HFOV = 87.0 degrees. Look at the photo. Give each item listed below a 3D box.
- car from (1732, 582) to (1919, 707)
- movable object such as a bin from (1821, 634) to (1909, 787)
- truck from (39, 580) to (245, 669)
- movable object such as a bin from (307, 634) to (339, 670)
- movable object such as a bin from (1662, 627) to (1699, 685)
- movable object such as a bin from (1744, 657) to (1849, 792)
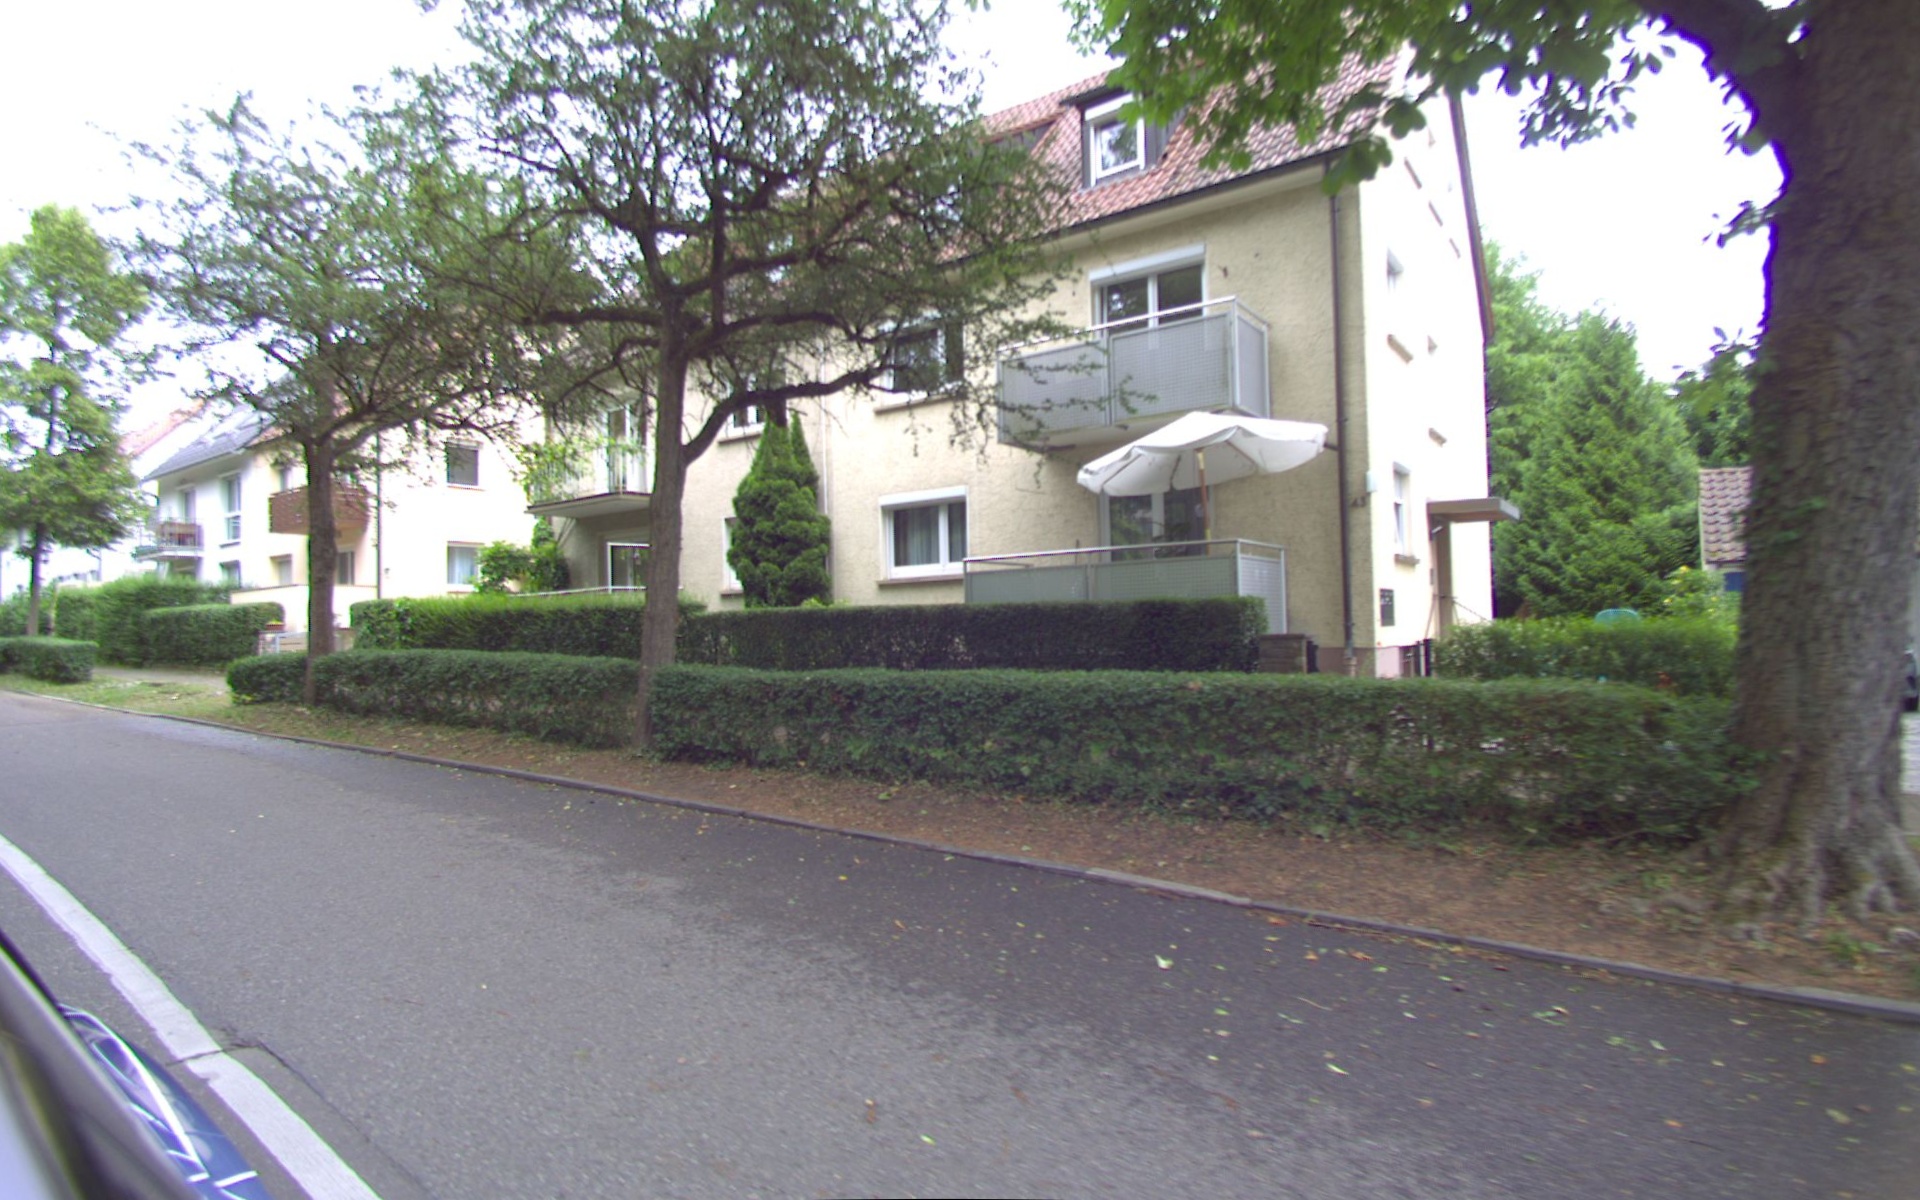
[{"bbox_3d":[12.289,0.626,14.257,1.794,1.522,3.956,-2,-3,32],"label":"car"},{"bbox_3d":[6.731,0.803,7.542,0.404,1.097,0.377,-1,-3,32],"label":"movable object such as a bin"},{"bbox_3d":[-31.507,0.923,39.209,2.512,3.155,5.747,-2,-1,34],"label":"truck"},{"bbox_3d":[-16.234,1.326,25.797,0.569,0.918,0.484,-1,-3,34],"label":"movable object such as a bin"},{"bbox_3d":[13.403,1.037,18.836,0.547,1.048,0.498,-1,-3,36],"label":"movable object such as a bin"},{"bbox_3d":[6.088,0.884,7.387,0.507,0.922,0.452,-1,-2,32],"label":"movable object such as a bin"}]
